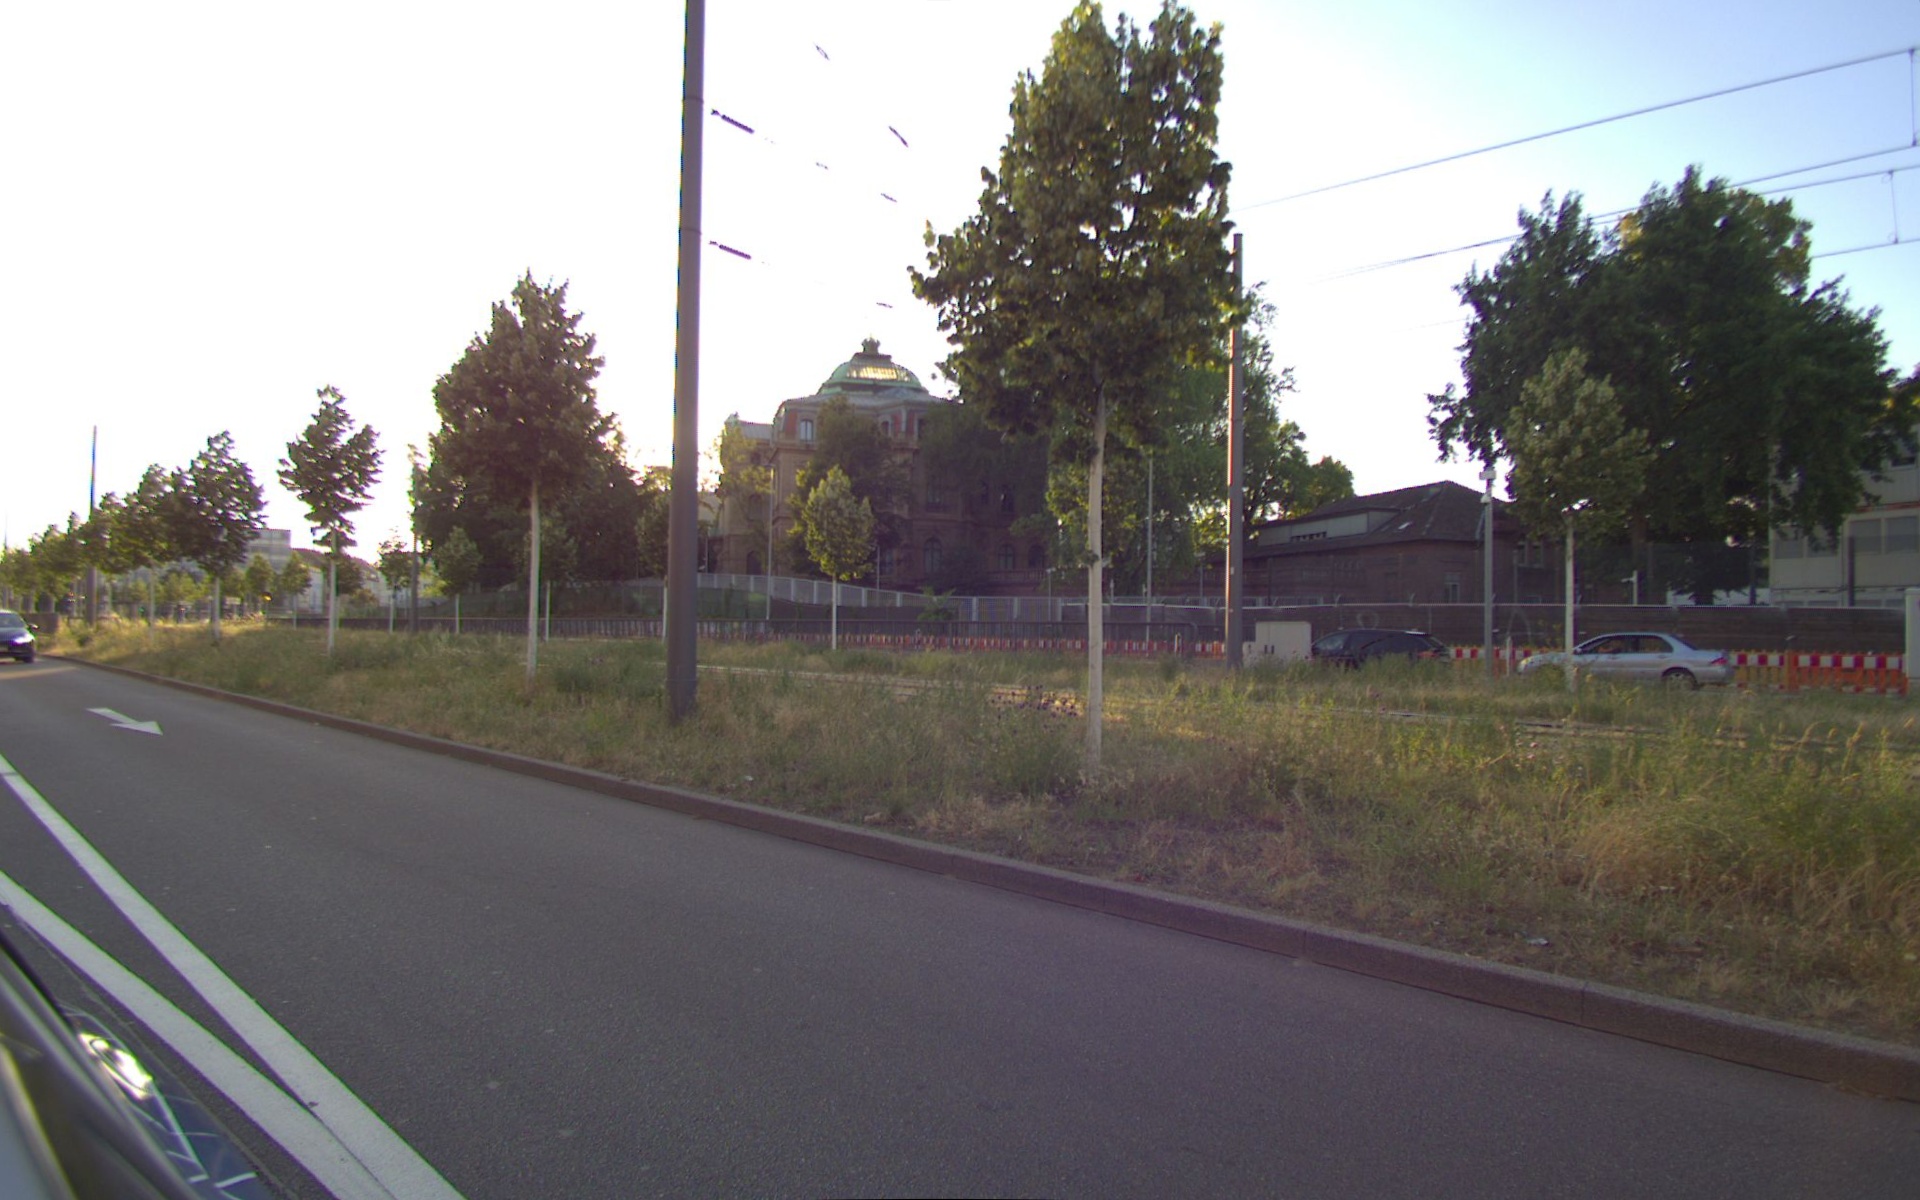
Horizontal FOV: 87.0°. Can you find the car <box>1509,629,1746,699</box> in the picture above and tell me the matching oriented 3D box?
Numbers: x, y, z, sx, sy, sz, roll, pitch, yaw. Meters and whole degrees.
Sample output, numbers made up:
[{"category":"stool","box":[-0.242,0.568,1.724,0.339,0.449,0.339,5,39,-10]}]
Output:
[{"category":"car","box":[16.099,1.510,24.547,4.521,1.492,1.972,-3,-2,42]}]

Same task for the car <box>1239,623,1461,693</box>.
[{"category":"car","box":[9.240,1.359,24.230,4.522,1.492,1.972,-3,-2,43]}]

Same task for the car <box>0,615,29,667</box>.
[{"category":"car","box":[-28.822,1.223,29.709,4.842,1.444,1.834,-3,-2,43]}]
